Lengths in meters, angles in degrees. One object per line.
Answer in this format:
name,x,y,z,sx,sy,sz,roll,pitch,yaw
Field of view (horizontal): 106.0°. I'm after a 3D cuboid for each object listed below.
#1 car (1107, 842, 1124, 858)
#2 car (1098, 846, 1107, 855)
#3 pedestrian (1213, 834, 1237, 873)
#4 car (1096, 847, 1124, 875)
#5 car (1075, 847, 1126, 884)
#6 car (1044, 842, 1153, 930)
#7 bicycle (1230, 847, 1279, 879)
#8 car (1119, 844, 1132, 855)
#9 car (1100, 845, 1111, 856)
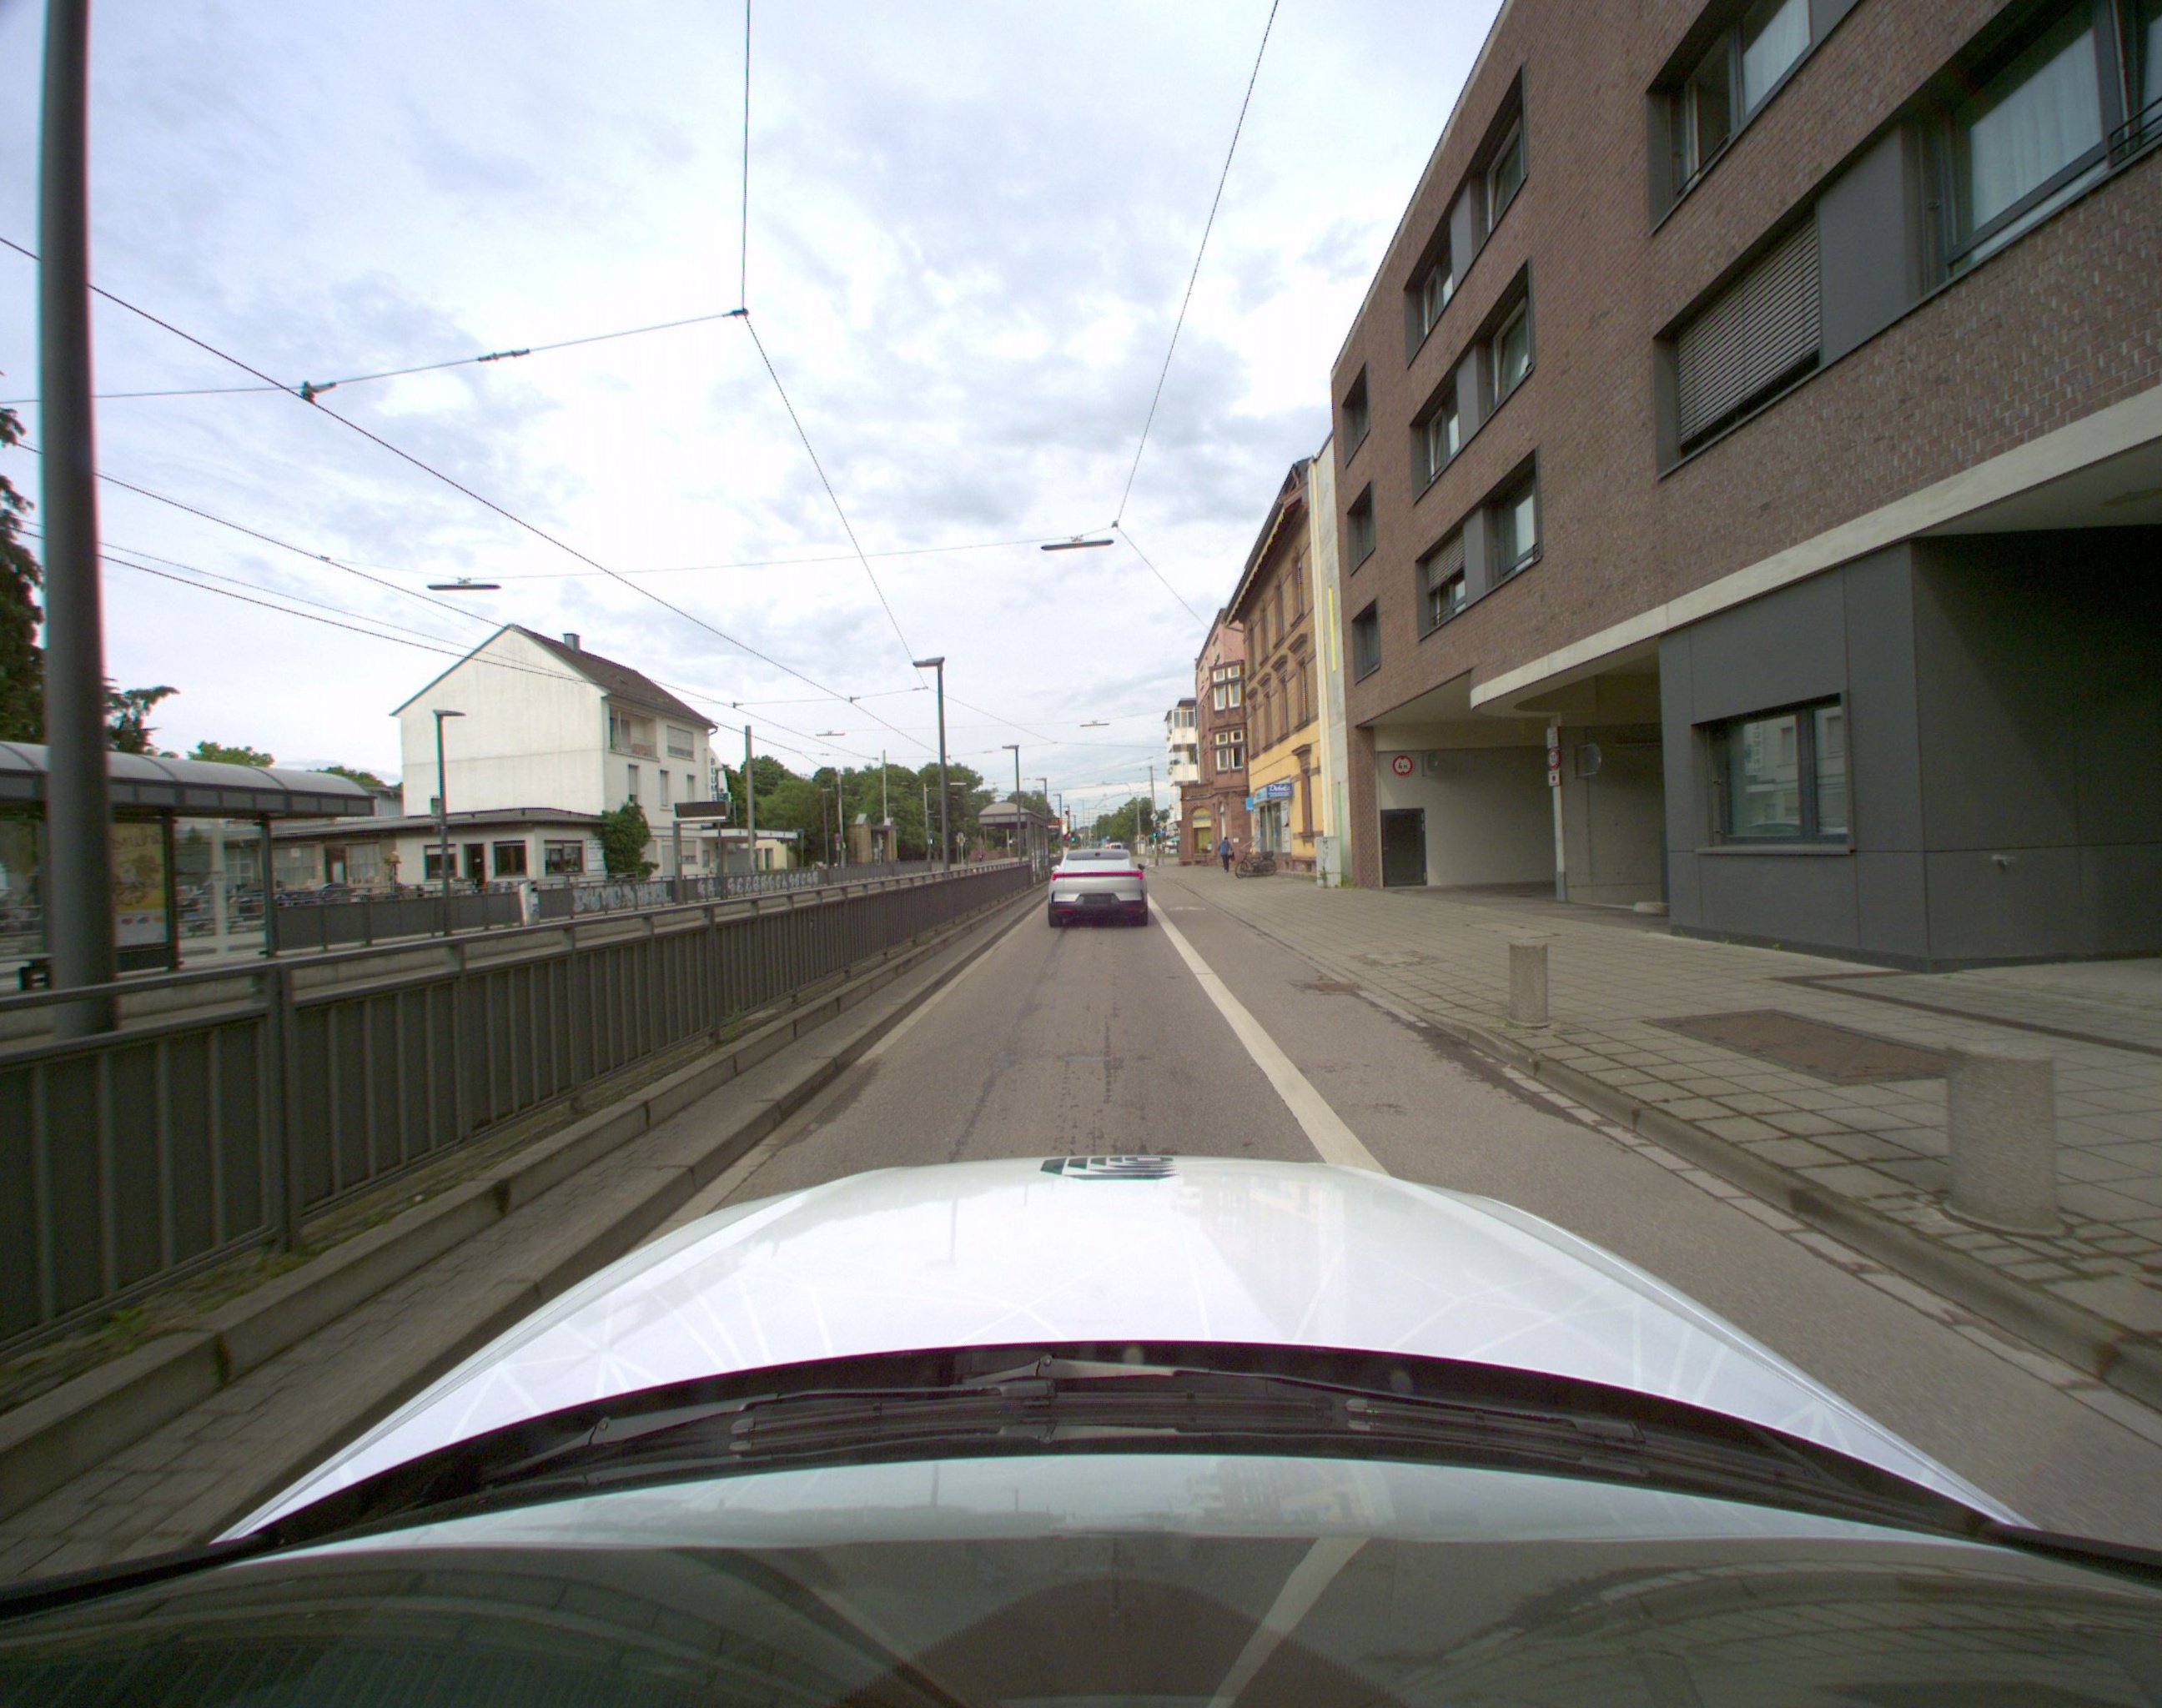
car,5.184,-0.572,122.744,2.220,2.402,5.120,-1,0,-2
car,4.855,-0.889,186.444,1.986,2.013,4.002,-2,0,2
pedestrian,7.296,-0.038,41.289,0.957,1.850,0.976,-4,1,2
car,1.891,0.447,52.408,1.674,1.687,3.825,-1,0,2
car,0.801,0.444,34.756,1.987,1.419,4.000,-3,0,1
car,0.249,0.600,17.046,1.994,1.581,3.996,-1,0,-3
bicycle,7.018,0.368,32.985,1.771,1.129,0.642,-5,0,1
car,10.502,-1.140,192.593,2.796,2.505,5.725,-1,0,2
car,4.745,-0.709,158.074,1.986,2.013,4.002,-2,0,2
